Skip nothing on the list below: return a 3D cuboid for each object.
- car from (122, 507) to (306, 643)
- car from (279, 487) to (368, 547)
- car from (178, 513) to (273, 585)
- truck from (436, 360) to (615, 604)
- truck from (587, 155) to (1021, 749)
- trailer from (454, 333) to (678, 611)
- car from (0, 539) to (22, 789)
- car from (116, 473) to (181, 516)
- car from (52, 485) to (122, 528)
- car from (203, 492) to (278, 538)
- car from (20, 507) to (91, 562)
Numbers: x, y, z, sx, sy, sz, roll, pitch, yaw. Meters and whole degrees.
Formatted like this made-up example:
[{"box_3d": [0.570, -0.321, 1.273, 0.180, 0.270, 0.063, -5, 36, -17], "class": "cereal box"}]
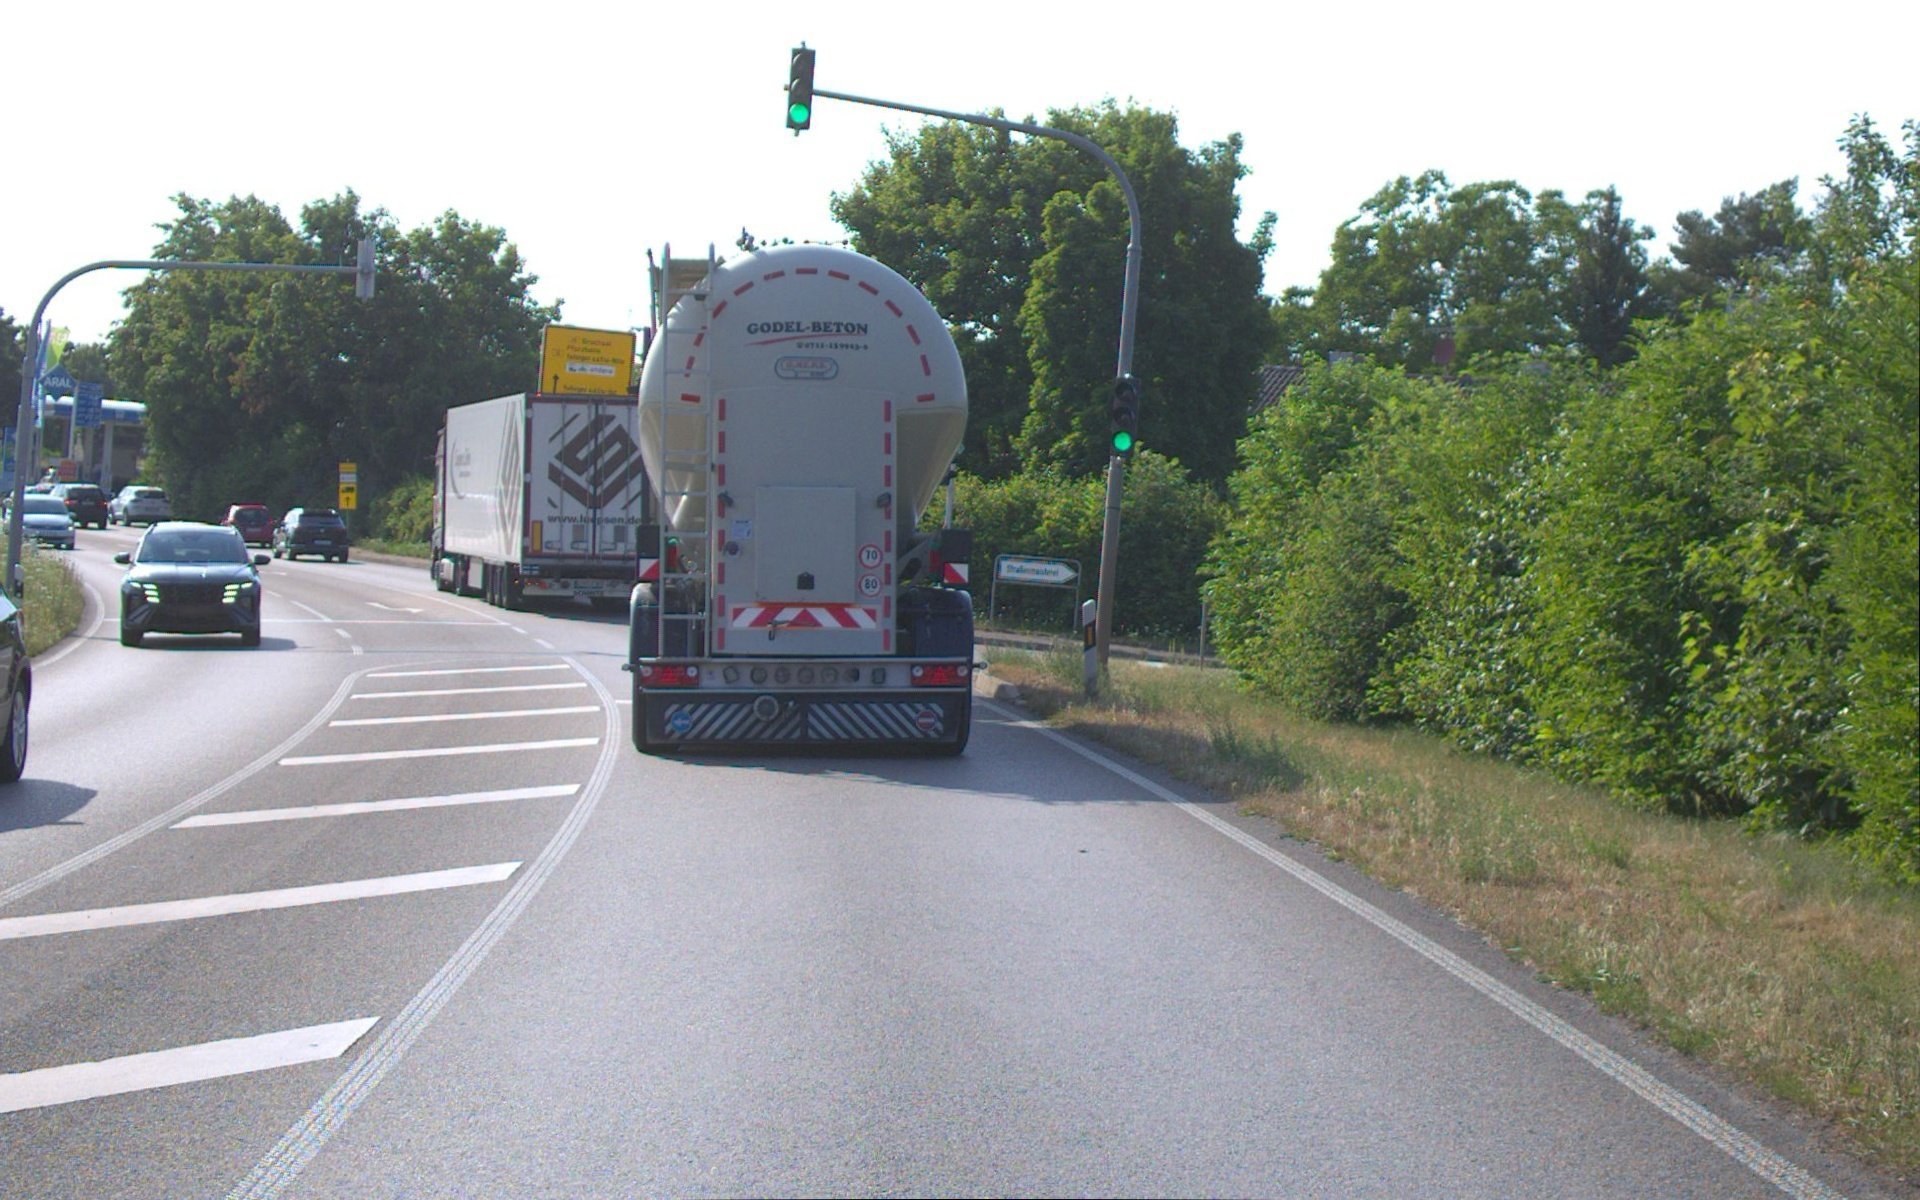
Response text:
[{"box_3d": [-10.363, -0.393, 48.032, 1.993, 1.719, 4.427, 2, 2, -6], "class": "car"}, {"box_3d": [-19.068, -2.454, 102.928, 1.993, 1.650, 4.001, 2, 0, -19], "class": "car"}, {"box_3d": [-15.063, -1.050, 70.600, 1.719, 1.431, 3.750, 0, 1, -9], "class": "car"}, {"box_3d": [-9.343, -2.410, 73.344, 2.962, 4.870, 6.432, 2, 0, -13], "class": "truck"}, {"box_3d": [-1.547, -1.051, 30.565, 2.975, 4.161, 11.664, 2, 0, -4], "class": "truck"}, {"box_3d": [-7.793, -2.305, 66.659, 2.963, 4.865, 10.291, 2, 0, -13], "class": "trailer"}, {"box_3d": [-6.556, 0.377, 19.926, 1.694, 1.547, 4.153, 2, 0, -9], "class": "car"}, {"box_3d": [-33.619, -4.360, 142.415, 1.841, 1.650, 4.001, 2, 0, -24], "class": "car"}, {"box_3d": [-34.732, -3.726, 136.743, 1.881, 1.594, 4.001, 2, 1, -26], "class": "car"}, {"box_3d": [-24.871, -2.912, 118.729, 1.683, 1.463, 4.001, 2, 0, -24], "class": "car"}, {"box_3d": [-28.022, -2.040, 106.419, 1.881, 1.594, 4.001, 2, 1, -18], "class": "car"}]
